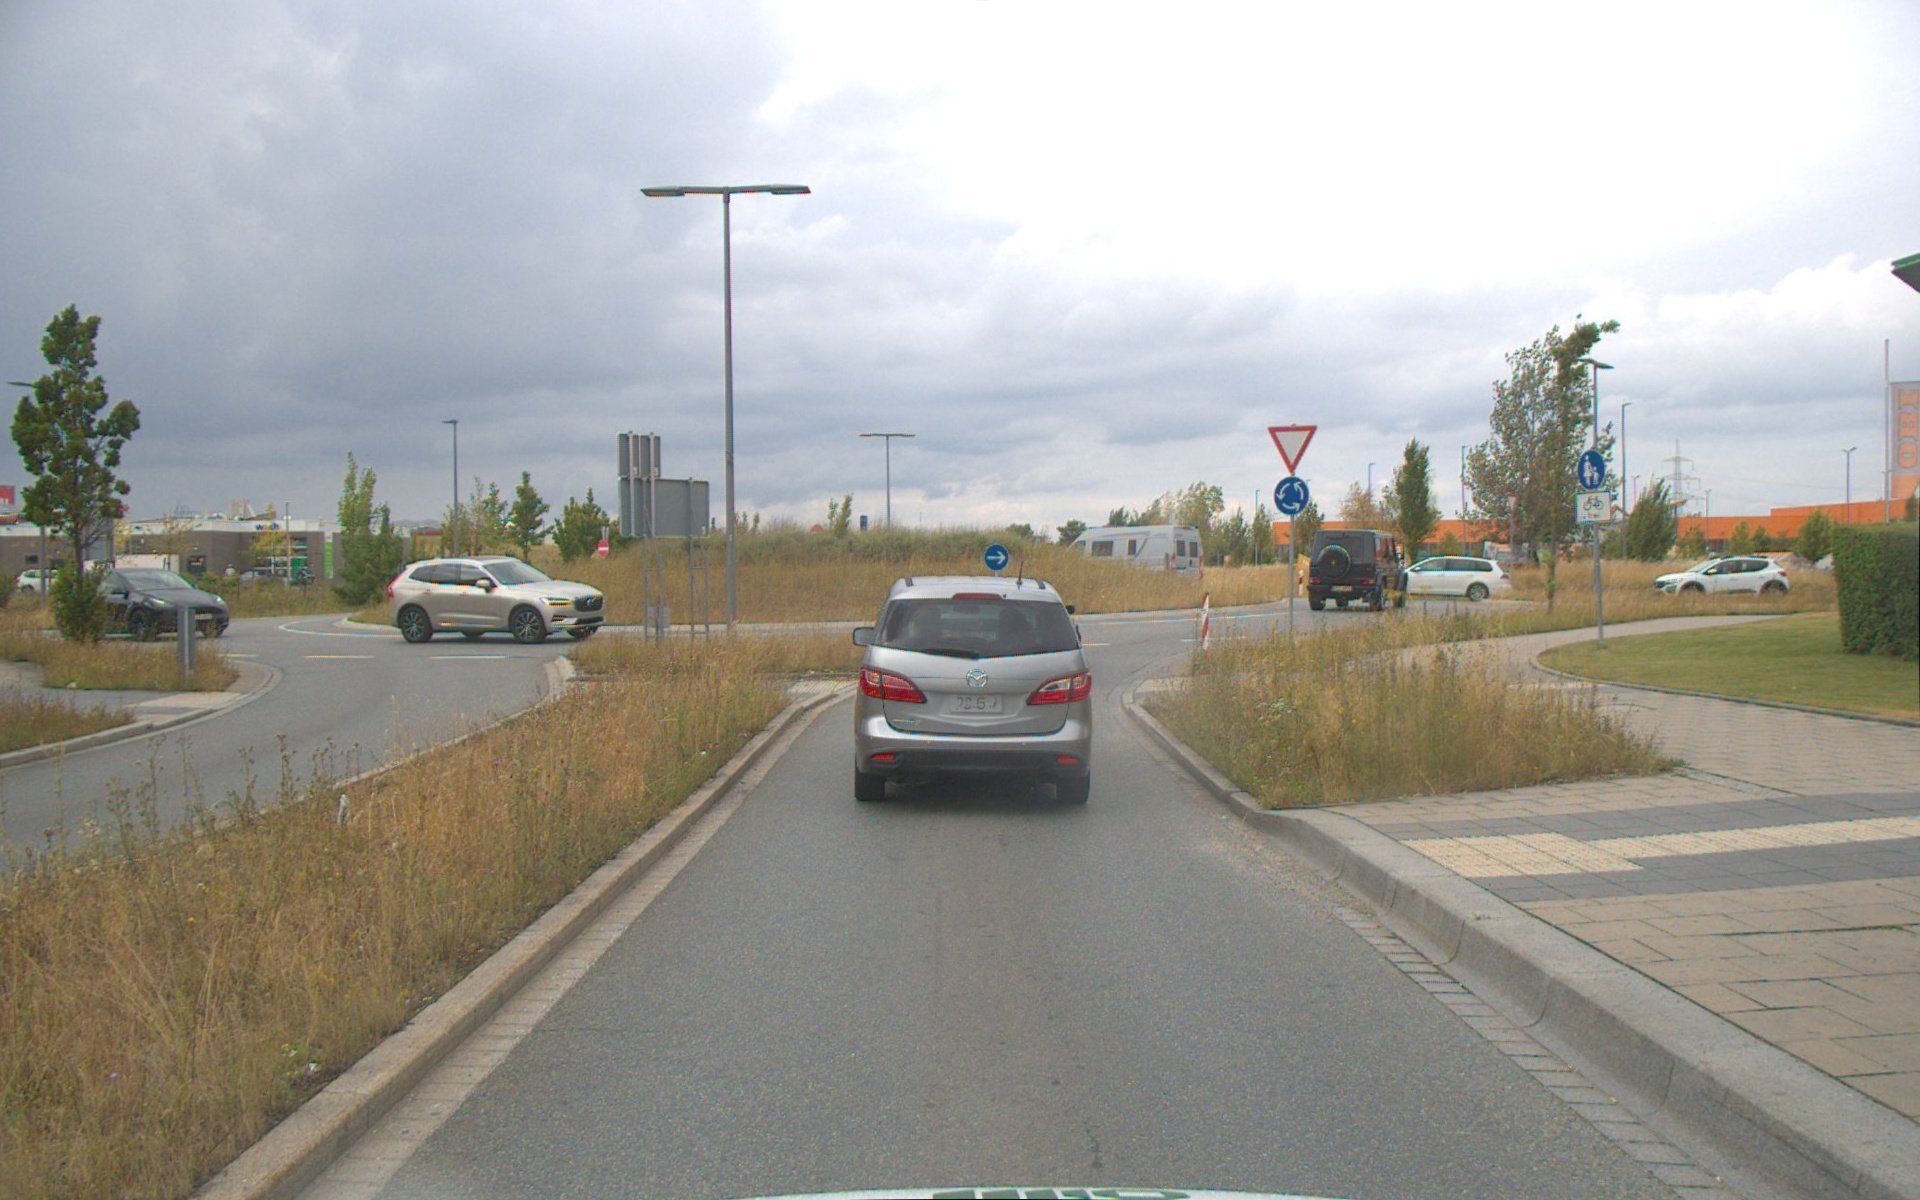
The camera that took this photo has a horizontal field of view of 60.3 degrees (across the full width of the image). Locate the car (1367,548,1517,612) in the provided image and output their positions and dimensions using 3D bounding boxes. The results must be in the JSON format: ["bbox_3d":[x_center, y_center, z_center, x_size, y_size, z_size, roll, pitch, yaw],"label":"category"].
[{"bbox_3d":[15.864,-0.667,54.615,4.658,1.919,2.087,-1,3,15],"label":"car"}]

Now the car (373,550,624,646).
[{"bbox_3d":[-9.245,-0.061,33.115,4.665,1.768,1.944,0,3,26],"label":"car"}]

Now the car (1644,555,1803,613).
[{"bbox_3d":[24.449,-0.537,53.073,4.235,1.676,1.872,-1,3,5],"label":"car"}]

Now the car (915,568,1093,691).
[{"bbox_3d":[0.722,0.345,23.753,1.701,1.427,4.002,1,4,14],"label":"car"}]

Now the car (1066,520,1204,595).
[{"bbox_3d":[6.381,-1.563,60.455,4.690,2.588,2.072,1,4,42],"label":"car"}]

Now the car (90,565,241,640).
[{"bbox_3d":[-18.452,0.012,38.319,1.928,1.524,4.702,-4,4,-41],"label":"car"}]

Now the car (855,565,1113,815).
[{"bbox_3d":[0.124,0.561,13.064,1.702,1.626,3.997,1,1,-1],"label":"car"}]

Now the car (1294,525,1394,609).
[{"bbox_3d":[9.811,-0.880,42.013,2.034,1.919,4.778,-1,3,18],"label":"car"}]
